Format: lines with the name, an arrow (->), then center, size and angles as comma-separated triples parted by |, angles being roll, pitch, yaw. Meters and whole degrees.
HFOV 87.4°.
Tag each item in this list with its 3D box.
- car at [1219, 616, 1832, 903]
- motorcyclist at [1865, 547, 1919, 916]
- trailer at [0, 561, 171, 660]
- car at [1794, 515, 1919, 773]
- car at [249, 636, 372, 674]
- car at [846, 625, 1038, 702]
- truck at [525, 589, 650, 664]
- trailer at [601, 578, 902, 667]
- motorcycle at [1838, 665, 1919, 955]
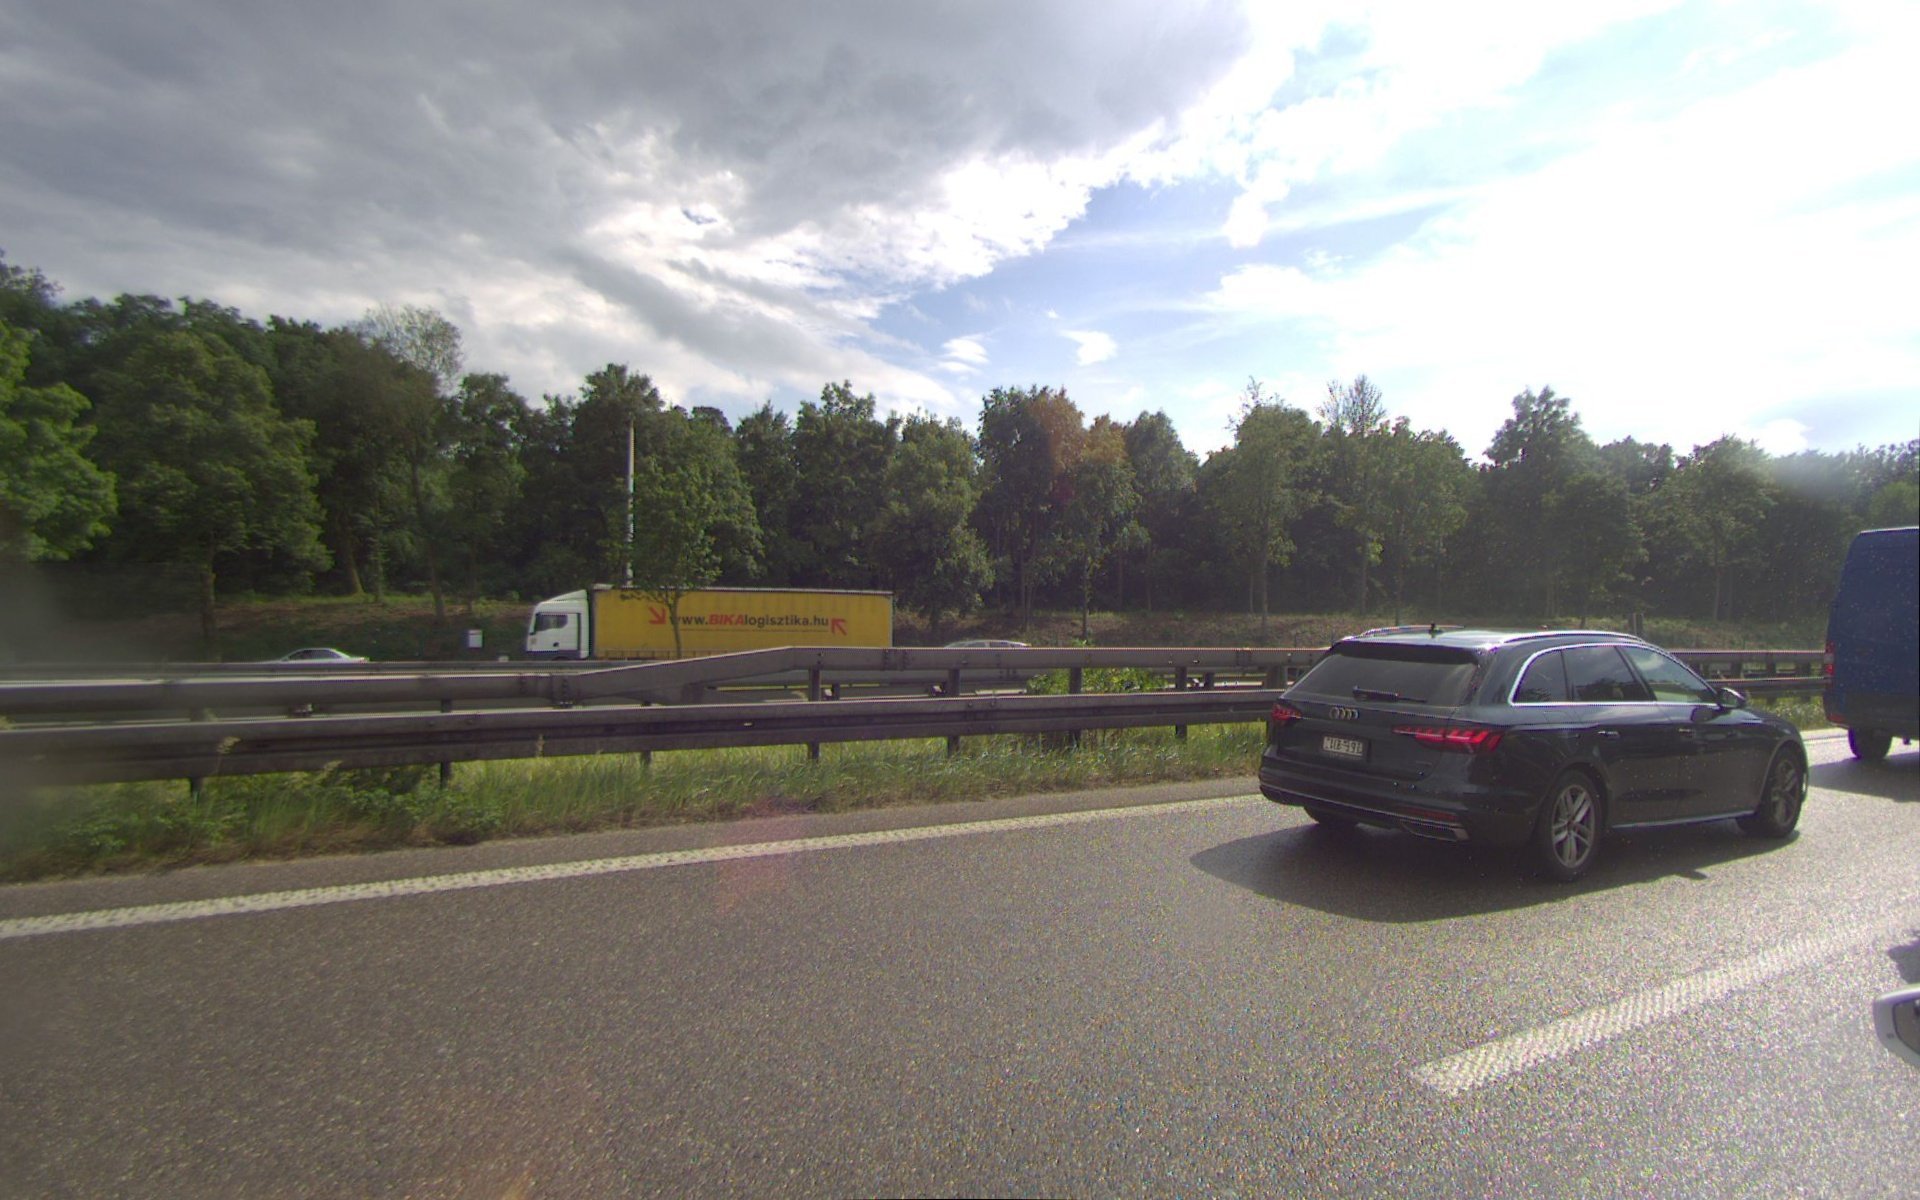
car -> 4.038, 0.883, 6.969 | 4.415, 1.430, 1.711 | 2, -1, -30
motorcyclist -> 5.349, 0.659, 5.071 | 1.376, 1.784, 0.816 | 2, 0, -34
trailer -> -37.017, 0.381, 37.530 | 11.550, 3.647, 2.178 | 1, -2, -23
car -> 12.427, 0.531, 11.946 | 5.709, 2.684, 2.006 | 2, -1, -30
car -> -26.811, 2.269, 41.628 | 3.942, 1.523, 1.891 | 1, -2, -22
car -> -0.418, 1.540, 24.941 | 4.450, 1.768, 1.858 | 2, -2, -31
truck -> -16.497, 1.171, 44.757 | 4.996, 3.139, 1.974 | 2, 0, -18
trailer -> -9.537, 1.117, 46.953 | 13.441, 3.744, 1.992 | 2, 0, -18
motorcycle -> 5.298, 0.994, 5.037 | 2.095, 1.279, 0.815 | 2, 0, -34
